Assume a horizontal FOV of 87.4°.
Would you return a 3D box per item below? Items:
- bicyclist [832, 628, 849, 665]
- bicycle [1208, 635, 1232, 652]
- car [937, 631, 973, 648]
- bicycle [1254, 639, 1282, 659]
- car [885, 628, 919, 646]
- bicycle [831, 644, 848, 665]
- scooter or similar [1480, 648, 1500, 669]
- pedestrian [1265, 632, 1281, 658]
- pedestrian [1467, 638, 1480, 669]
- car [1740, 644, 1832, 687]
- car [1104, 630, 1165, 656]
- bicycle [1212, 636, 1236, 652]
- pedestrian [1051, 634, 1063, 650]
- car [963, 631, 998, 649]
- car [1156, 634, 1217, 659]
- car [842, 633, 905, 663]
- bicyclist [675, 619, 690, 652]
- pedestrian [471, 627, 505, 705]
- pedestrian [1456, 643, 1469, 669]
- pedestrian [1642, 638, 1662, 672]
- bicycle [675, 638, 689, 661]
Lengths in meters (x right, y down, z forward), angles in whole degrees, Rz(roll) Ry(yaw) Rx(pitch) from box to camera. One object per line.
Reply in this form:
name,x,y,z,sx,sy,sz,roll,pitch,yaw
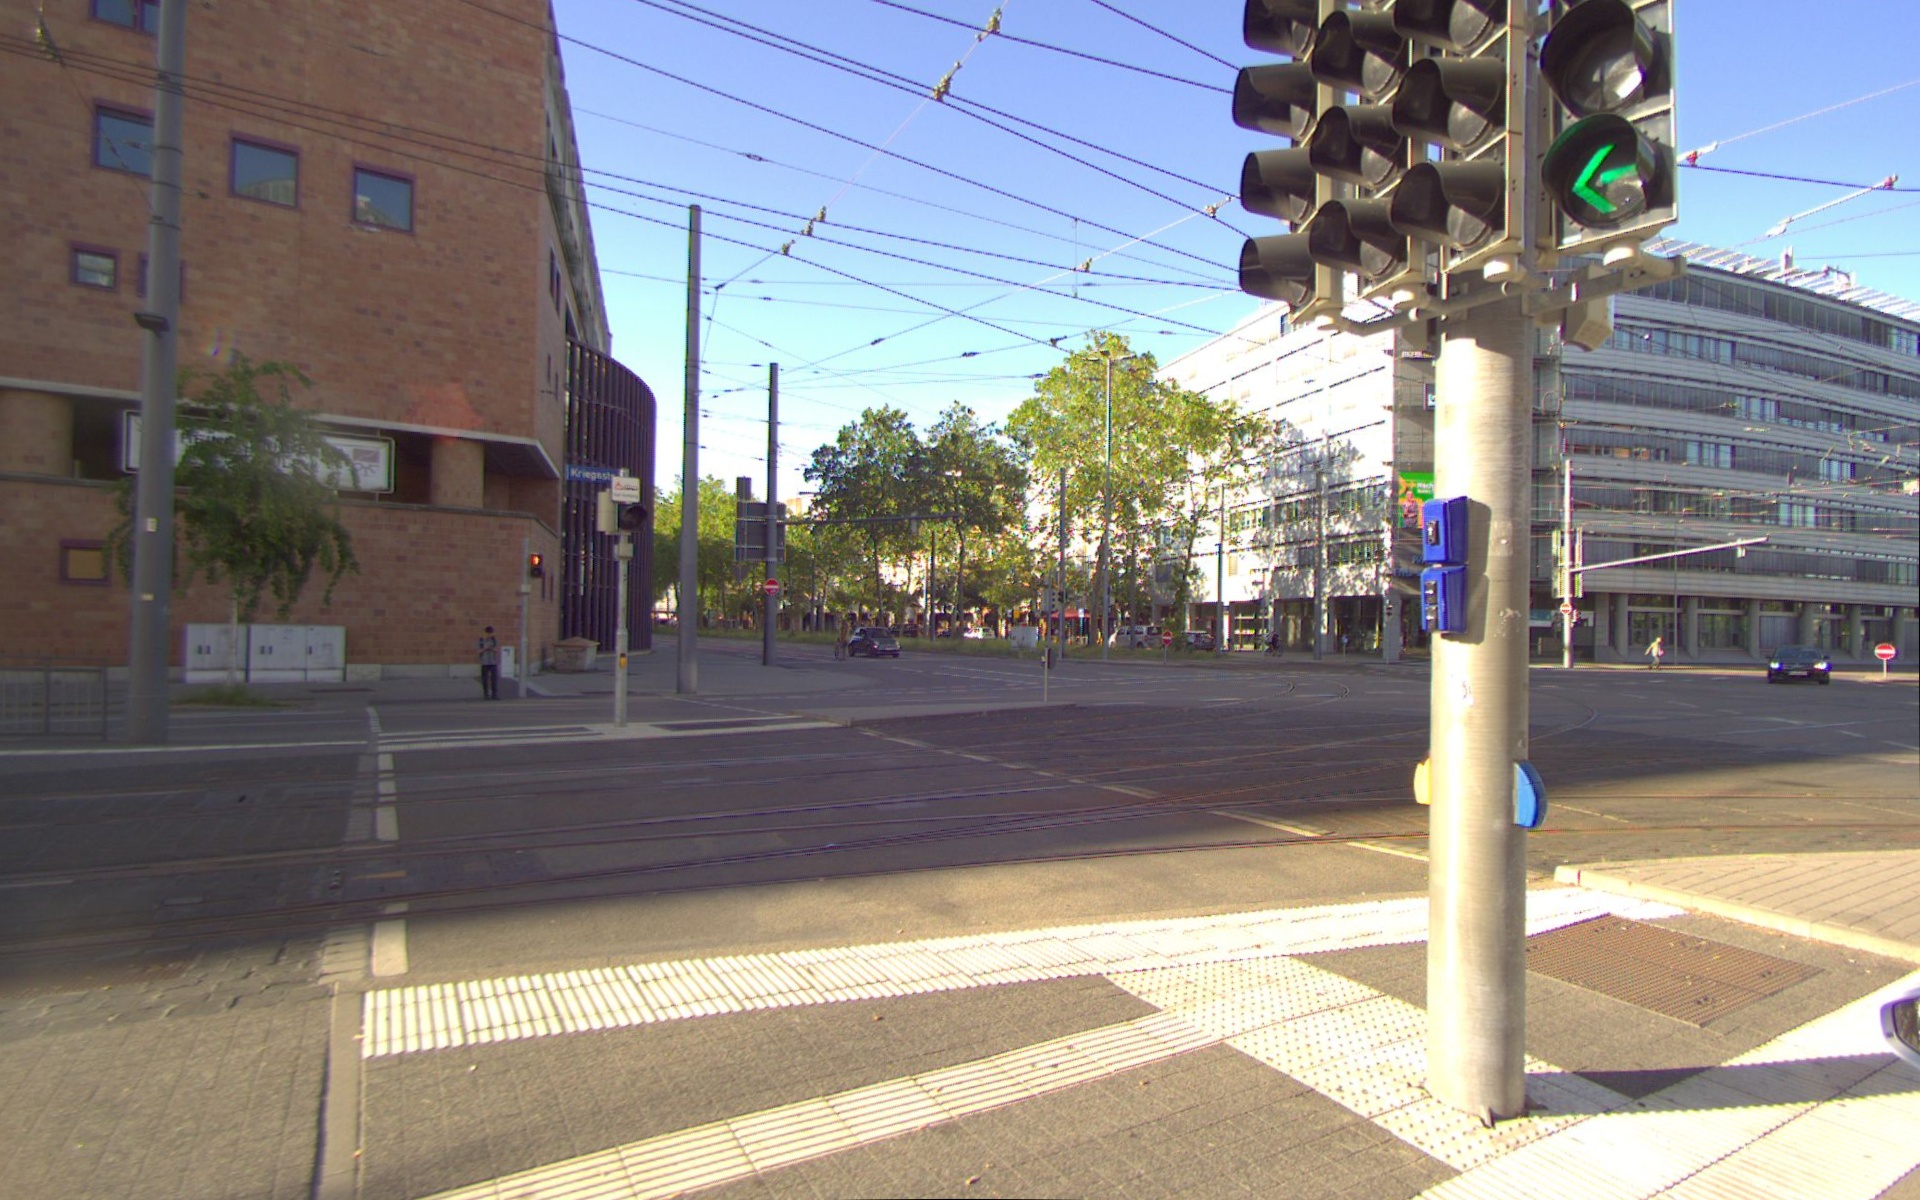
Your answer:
bicyclist,-5.514,2.141,46.337,0.614,1.643,0.812,2,-2,-16
bicycle,19.062,3.199,73.623,1.813,1.167,0.467,0,-1,-24
car,-0.494,3.974,101.085,1.969,1.650,4.054,0,-2,-29
bicycle,19.779,3.128,64.490,0.605,1.179,1.834,-2,1,-28
car,-6.417,4.060,110.973,2.012,2.003,4.381,0,-1,-29
bicycle,-5.563,2.508,46.423,0.528,0.925,1.564,1,-2,-16
scooter or similar,30.435,3.356,57.707,1.001,1.144,0.549,0,-2,31
pedestrian,20.136,2.903,64.613,0.599,1.633,0.831,-2,1,-29
pedestrian,29.731,3.080,58.145,0.627,1.731,0.580,0,-1,31
car,31.238,2.429,38.112,1.764,1.485,4.306,-1,-2,27
car,12.989,3.175,75.042,1.905,1.868,4.888,-1,-1,-28
bicycle,19.247,3.198,73.185,1.813,1.167,0.467,0,-1,-24
pedestrian,9.832,4.280,101.960,0.862,1.567,0.987,2,-2,-26
car,1.964,3.817,95.884,1.840,1.659,3.844,1,-2,-25
car,15.758,3.184,70.089,1.840,1.593,4.387,-1,-1,-25
car,-4.363,2.385,50.204,1.637,1.346,3.590,2,-1,-32
bicyclist,-13.922,1.769,50.414,0.674,1.611,0.925,1,-2,-13
pedestrian,-10.223,1.413,21.753,0.501,1.638,0.504,2,-1,-41
pedestrian,28.757,3.191,57.433,0.627,1.420,0.545,0,-1,31
pedestrian,37.475,2.980,54.390,0.664,1.847,0.885,0,-3,20
bicycle,-13.927,2.458,50.377,0.606,1.093,1.915,1,-2,-13
